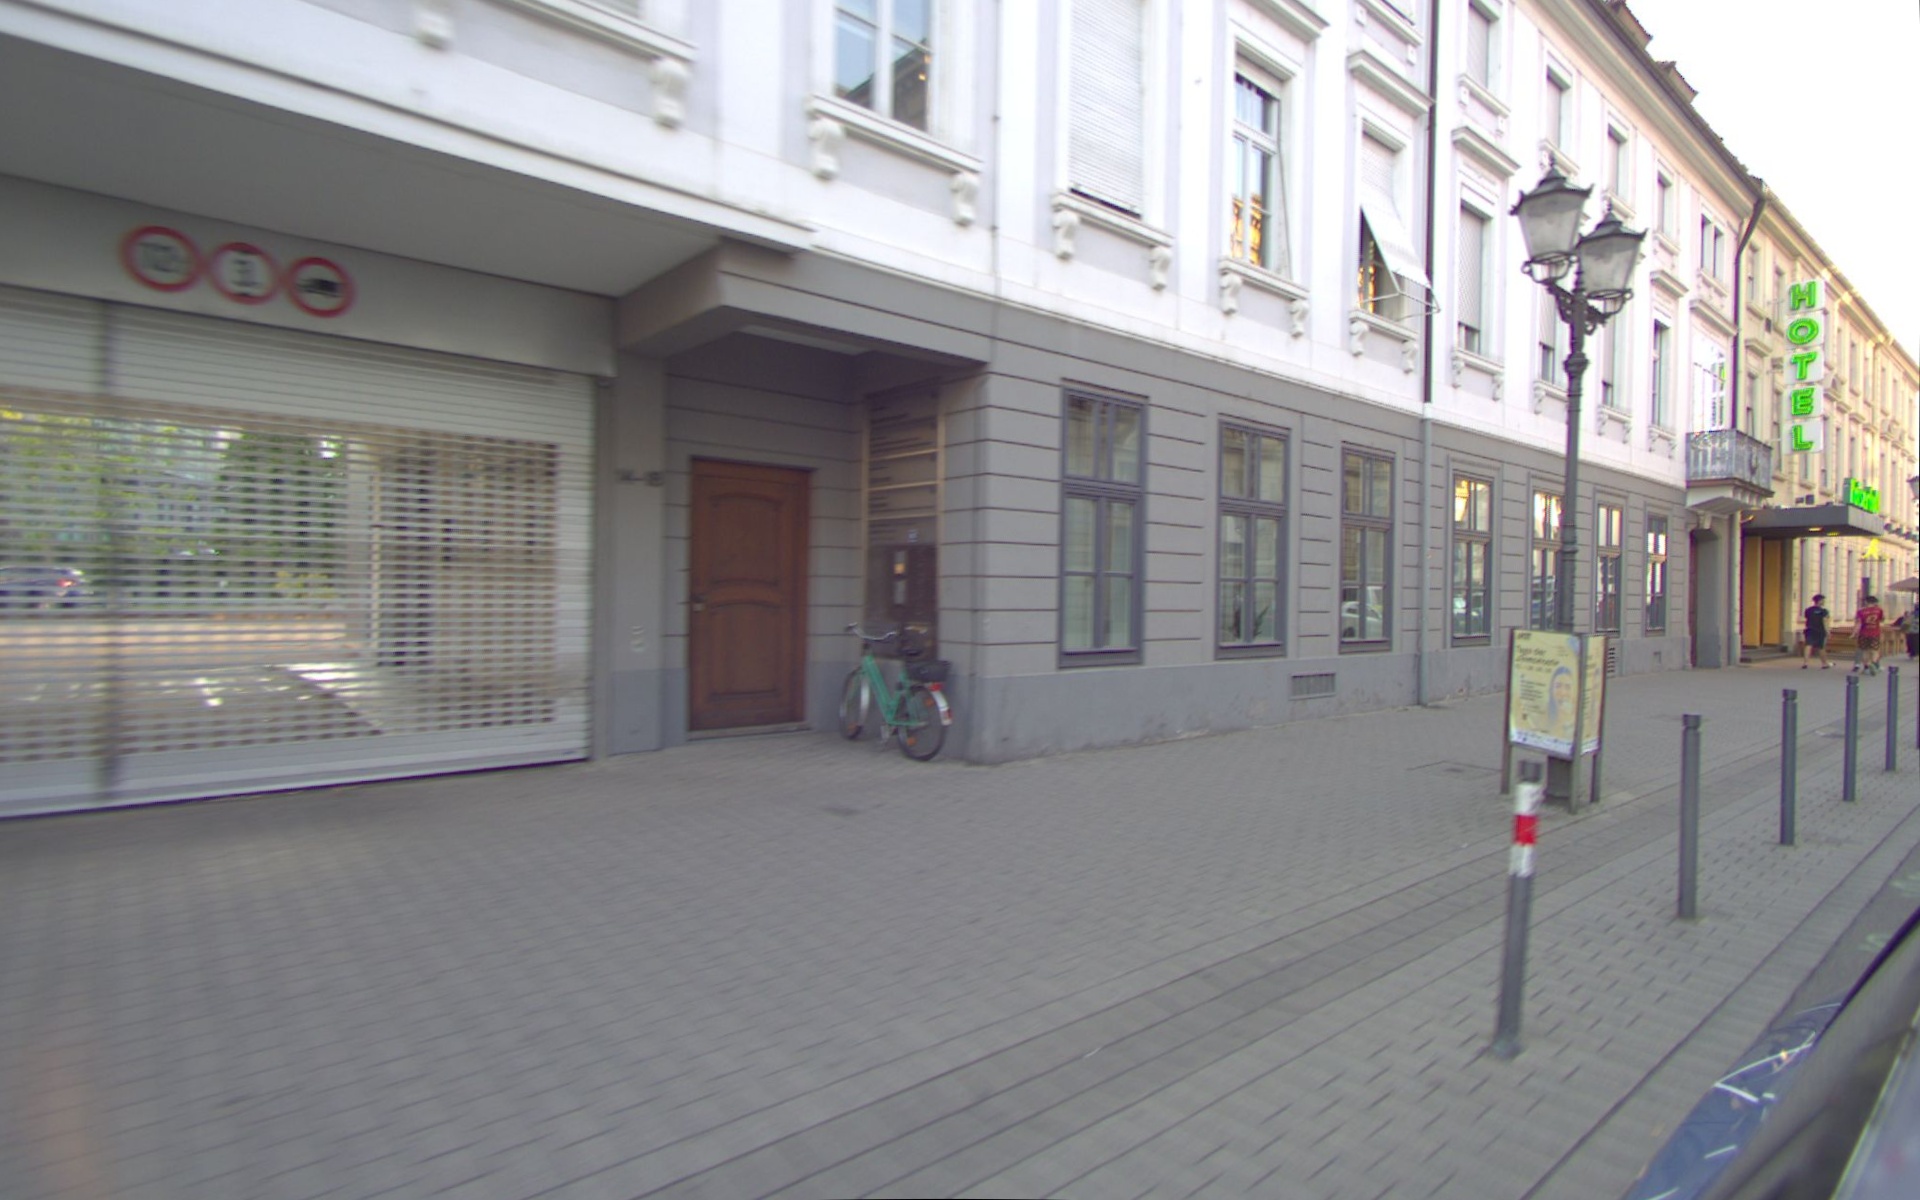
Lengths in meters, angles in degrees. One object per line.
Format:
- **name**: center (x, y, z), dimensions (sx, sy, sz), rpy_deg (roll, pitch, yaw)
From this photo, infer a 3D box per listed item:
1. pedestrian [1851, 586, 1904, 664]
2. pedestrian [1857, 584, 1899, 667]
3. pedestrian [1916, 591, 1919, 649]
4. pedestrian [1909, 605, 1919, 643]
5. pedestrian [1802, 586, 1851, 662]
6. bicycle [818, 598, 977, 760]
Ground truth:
- **pedestrian**: center (21.120, 0.551, 23.292), dimensions (0.865, 1.752, 0.750), rpy_deg (1, 0, -37)
- **pedestrian**: center (20.426, 0.547, 22.526), dimensions (0.619, 1.812, 0.901), rpy_deg (1, 0, 38)
- **pedestrian**: center (27.227, 0.579, 28.310), dimensions (0.604, 1.621, 0.631), rpy_deg (1, 0, -39)
- **pedestrian**: center (35.459, 0.870, 37.140), dimensions (0.771, 1.376, 0.715), rpy_deg (1, 0, 34)
- **pedestrian**: center (20.334, 0.551, 23.741), dimensions (0.857, 1.752, 0.715), rpy_deg (1, 0, -38)
- **bicycle**: center (-0.583, 0.632, 8.856), dimensions (0.431, 1.268, 1.659), rpy_deg (1, 0, -42)
